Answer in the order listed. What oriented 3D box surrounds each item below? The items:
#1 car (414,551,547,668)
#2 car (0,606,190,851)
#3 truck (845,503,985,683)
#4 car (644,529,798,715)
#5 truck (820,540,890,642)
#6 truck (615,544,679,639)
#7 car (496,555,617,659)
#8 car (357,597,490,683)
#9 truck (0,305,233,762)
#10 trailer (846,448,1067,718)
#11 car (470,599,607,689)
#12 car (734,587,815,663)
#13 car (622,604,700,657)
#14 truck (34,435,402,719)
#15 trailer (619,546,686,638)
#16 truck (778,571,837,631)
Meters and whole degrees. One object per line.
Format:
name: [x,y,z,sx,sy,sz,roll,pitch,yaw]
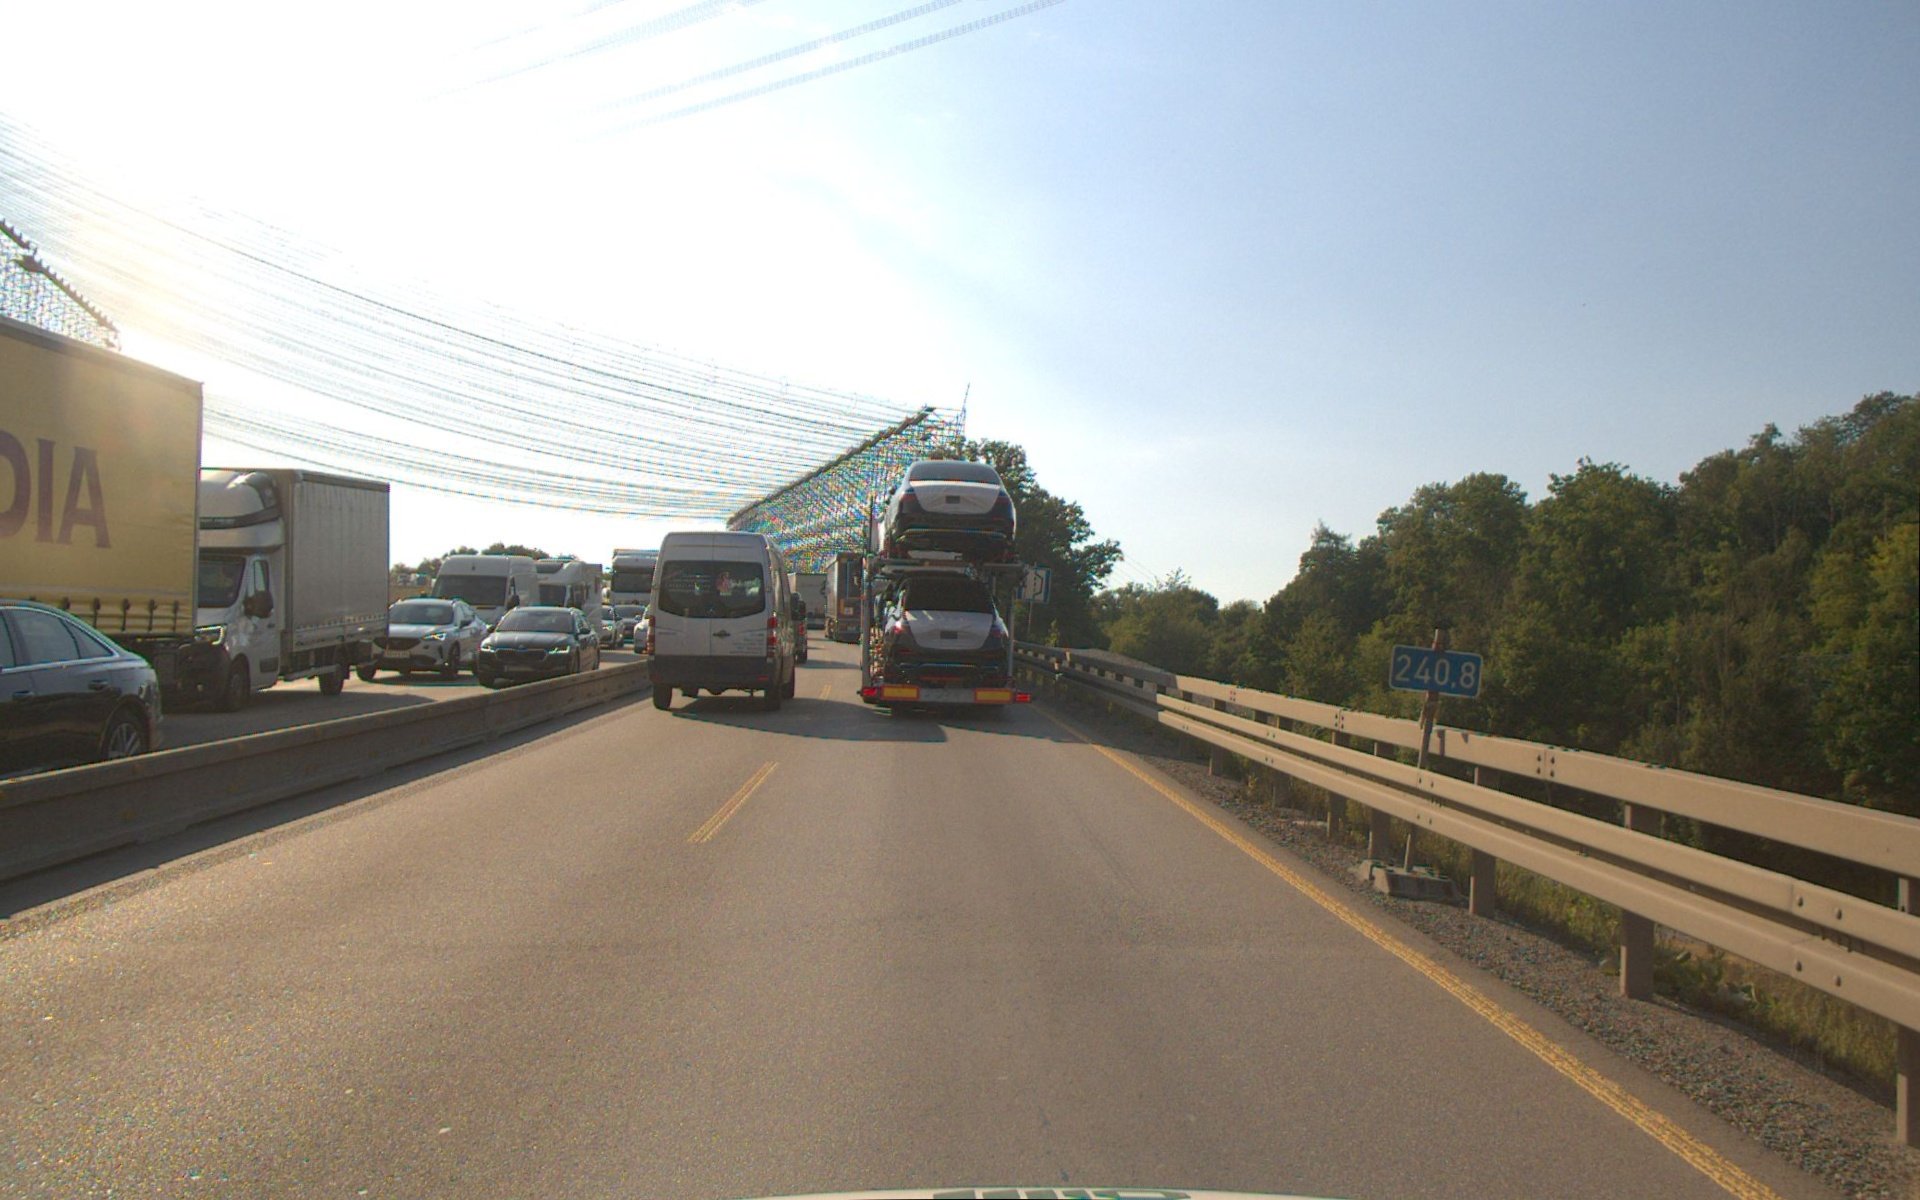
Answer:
car: [-11.703,0.254,40.787,1.918,2.667,5.744,1,-1,-4]
car: [-6.632,0.758,10.107,1.771,1.451,4.671,2,-1,-2]
truck: [-1.204,-0.114,38.827,2.825,3.767,7.318,1,-1,-5]
car: [-3.639,0.353,25.870,1.917,2.667,3.998,0,-1,-2]
truck: [-5.198,-0.402,79.814,2.680,4.462,11.505,2,0,-6]
truck: [-14.824,-0.372,78.657,2.662,4.292,5.672,1,-1,-8]
car: [-12.372,0.268,51.319,2.288,2.969,7.626,1,-1,-3]
car: [-10.521,0.762,32.700,1.730,1.550,3.995,2,-1,-7]
truck: [-9.991,-0.632,13.190,2.653,4.160,14.145,0,-1,-2]
trailer: [-0.551,-0.167,31.071,2.813,3.790,14.930,1,-1,-5]
car: [-7.947,0.807,31.560,1.621,1.550,4.285,2,-1,-2]
car: [-5.324,0.720,47.878,1.953,2.049,3.998,2,-1,-2]
car: [-9.664,0.951,53.817,2.018,1.512,4.722,-2,1,-5]
truck: [-10.603,-0.256,24.600,2.399,3.523,7.610,1,-1,-4]
trailer: [-15.755,-0.321,85.383,2.670,4.292,13.723,1,-1,-8]
truck: [-11.919,0.051,128.022,3.619,4.294,13.641,-1,0,-9]
